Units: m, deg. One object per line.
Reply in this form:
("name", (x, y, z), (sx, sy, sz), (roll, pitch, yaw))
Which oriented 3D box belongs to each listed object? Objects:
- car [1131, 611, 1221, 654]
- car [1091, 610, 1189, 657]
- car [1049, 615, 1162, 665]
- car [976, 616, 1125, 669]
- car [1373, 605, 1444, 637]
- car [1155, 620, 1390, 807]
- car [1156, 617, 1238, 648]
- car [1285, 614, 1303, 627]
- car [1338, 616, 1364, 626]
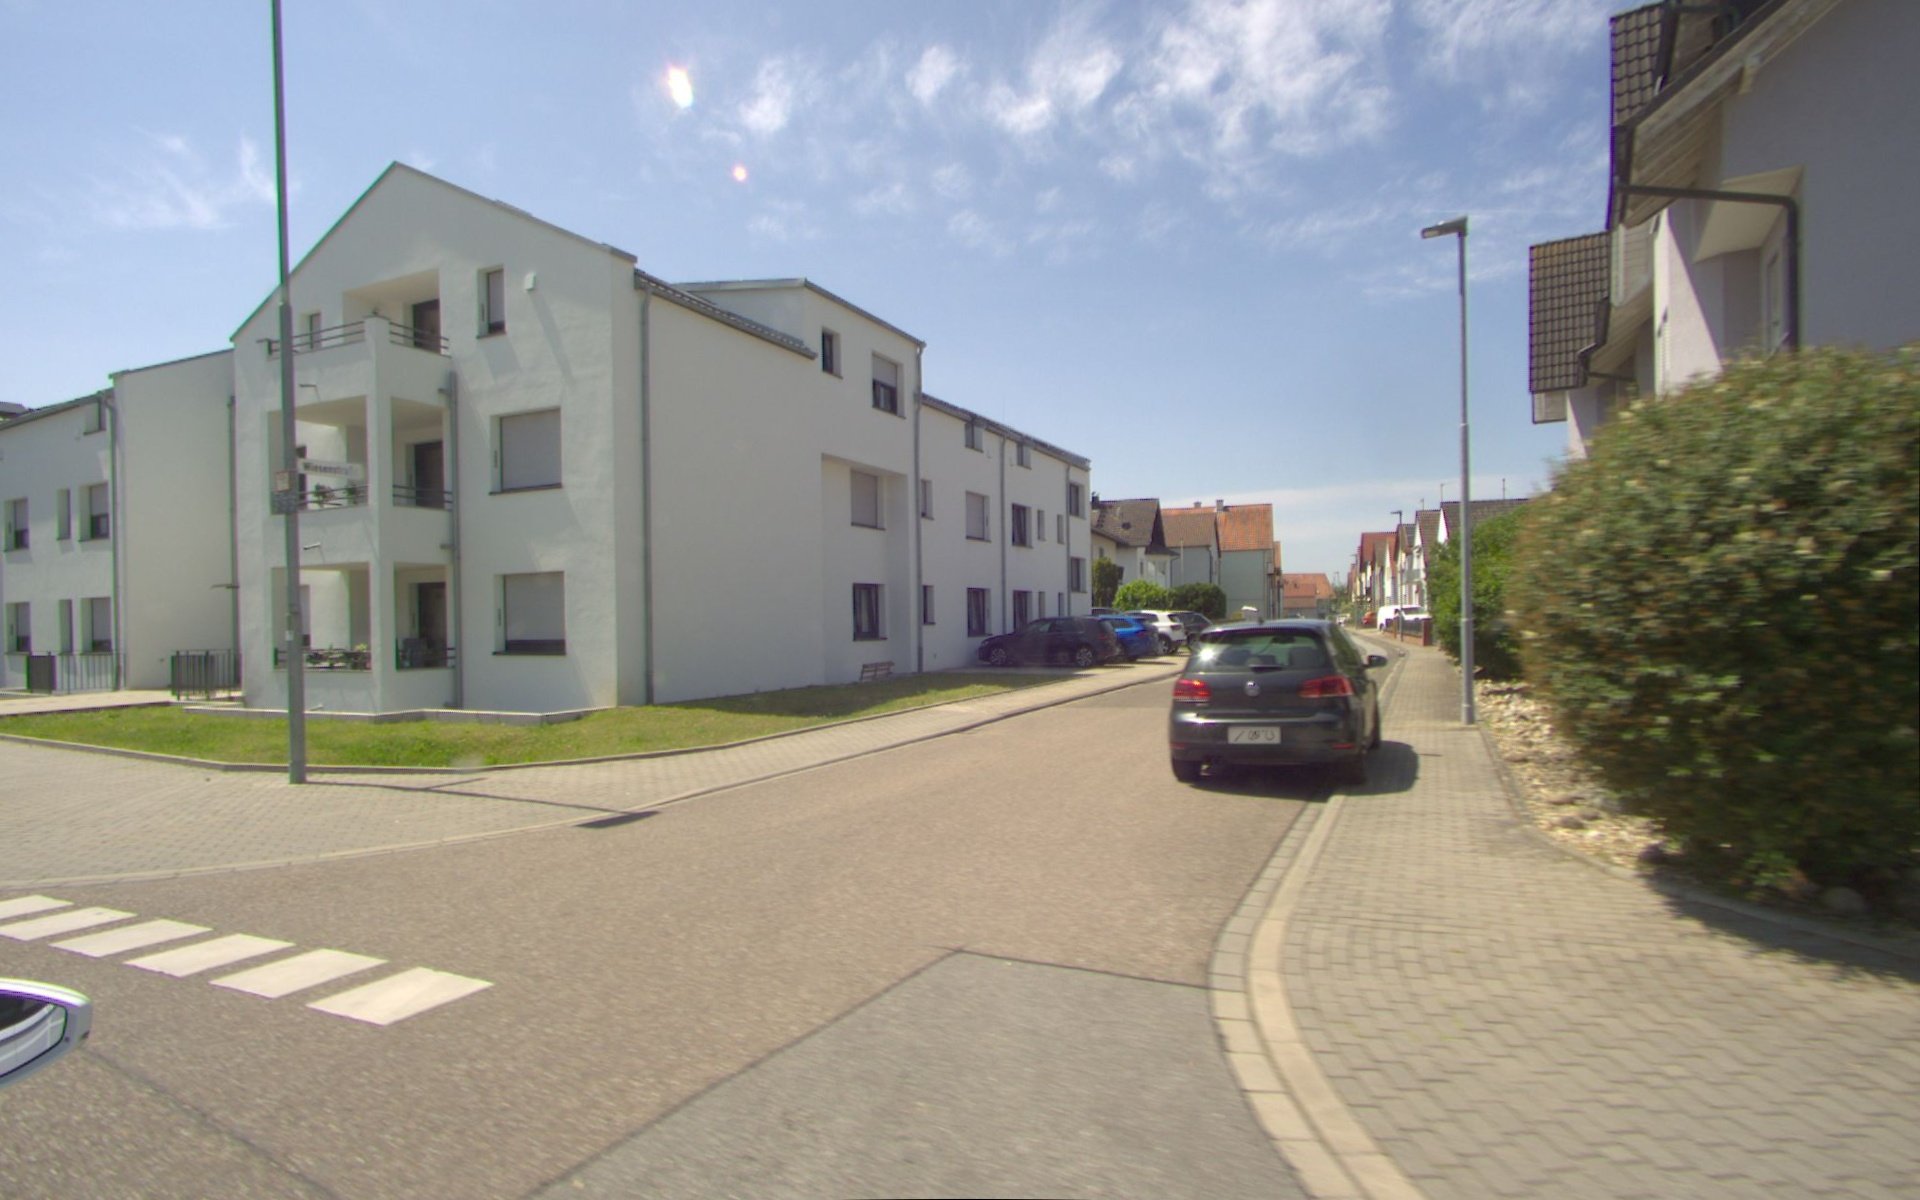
("car", (8.318, 1.239, 38.555), (3.164, 1.597, 1.458), (-1, -1, 24))
("car", (6.419, 1.183, 35.675), (3.164, 1.597, 1.458), (-1, -1, 24))
("car", (4.484, 1.226, 30.776), (3.164, 1.459, 1.458), (-1, -1, 24))
("car", (2.607, 1.220, 29.019), (3.942, 1.431, 1.750), (-1, -1, 26))
("car", (27.960, 1.296, 62.575), (1.962, 1.901, 4.456), (-1, -1, -8))
("car", (3.379, 0.976, 10.308), (1.728, 1.486, 3.991), (-1, -1, 26))
("car", (10.103, 1.390, 42.654), (3.164, 1.297, 1.458), (-1, -1, 24))
("car", (34.870, 2.146, 104.389), (1.738, 1.360, 3.973), (-1, -2, 19))
("car", (49.343, 2.648, 126.294), (3.040, 1.181, 1.296), (-1, -1, 24))
